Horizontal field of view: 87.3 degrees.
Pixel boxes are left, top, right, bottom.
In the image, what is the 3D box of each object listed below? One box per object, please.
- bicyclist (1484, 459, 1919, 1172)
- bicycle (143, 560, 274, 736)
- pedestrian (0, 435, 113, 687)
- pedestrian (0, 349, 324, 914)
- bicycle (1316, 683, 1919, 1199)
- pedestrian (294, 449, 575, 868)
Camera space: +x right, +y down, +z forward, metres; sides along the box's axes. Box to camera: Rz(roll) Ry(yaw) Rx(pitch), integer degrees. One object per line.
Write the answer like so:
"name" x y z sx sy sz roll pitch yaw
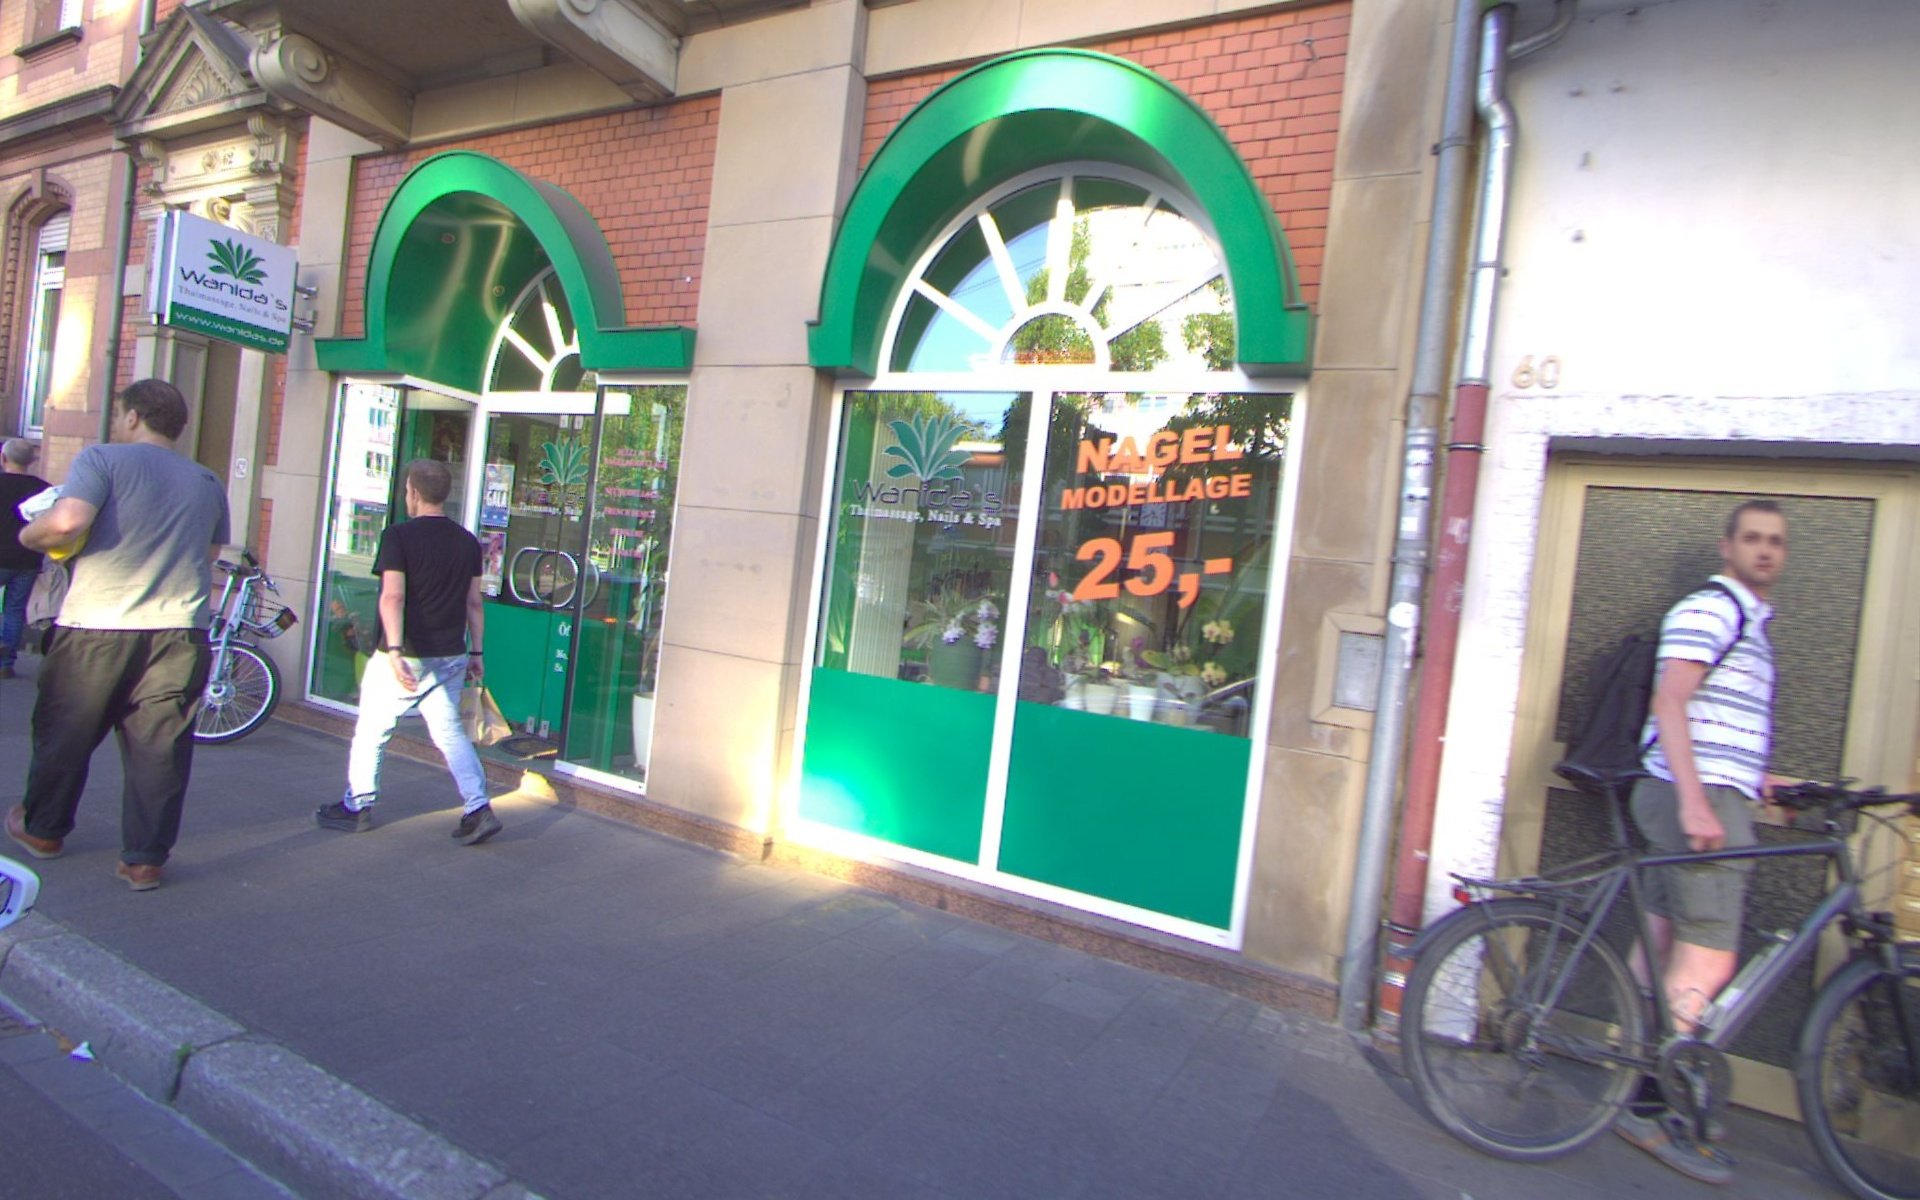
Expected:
"bicyclist" 2.240 0.604 3.097 0.730 1.906 0.600 7 1 3
"bicycle" -5.041 0.292 6.726 1.222 1.009 0.344 7 2 38
"pedestrian" -6.863 -0.288 7.314 0.741 1.746 0.776 7 2 29
"pedestrian" -3.196 0.095 3.935 0.741 1.919 0.822 7 2 29
"bicycle" 2.211 1.023 3.097 1.859 1.269 0.668 7 1 2
"pedestrian" -2.456 0.241 4.738 0.741 1.746 0.776 7 2 29
